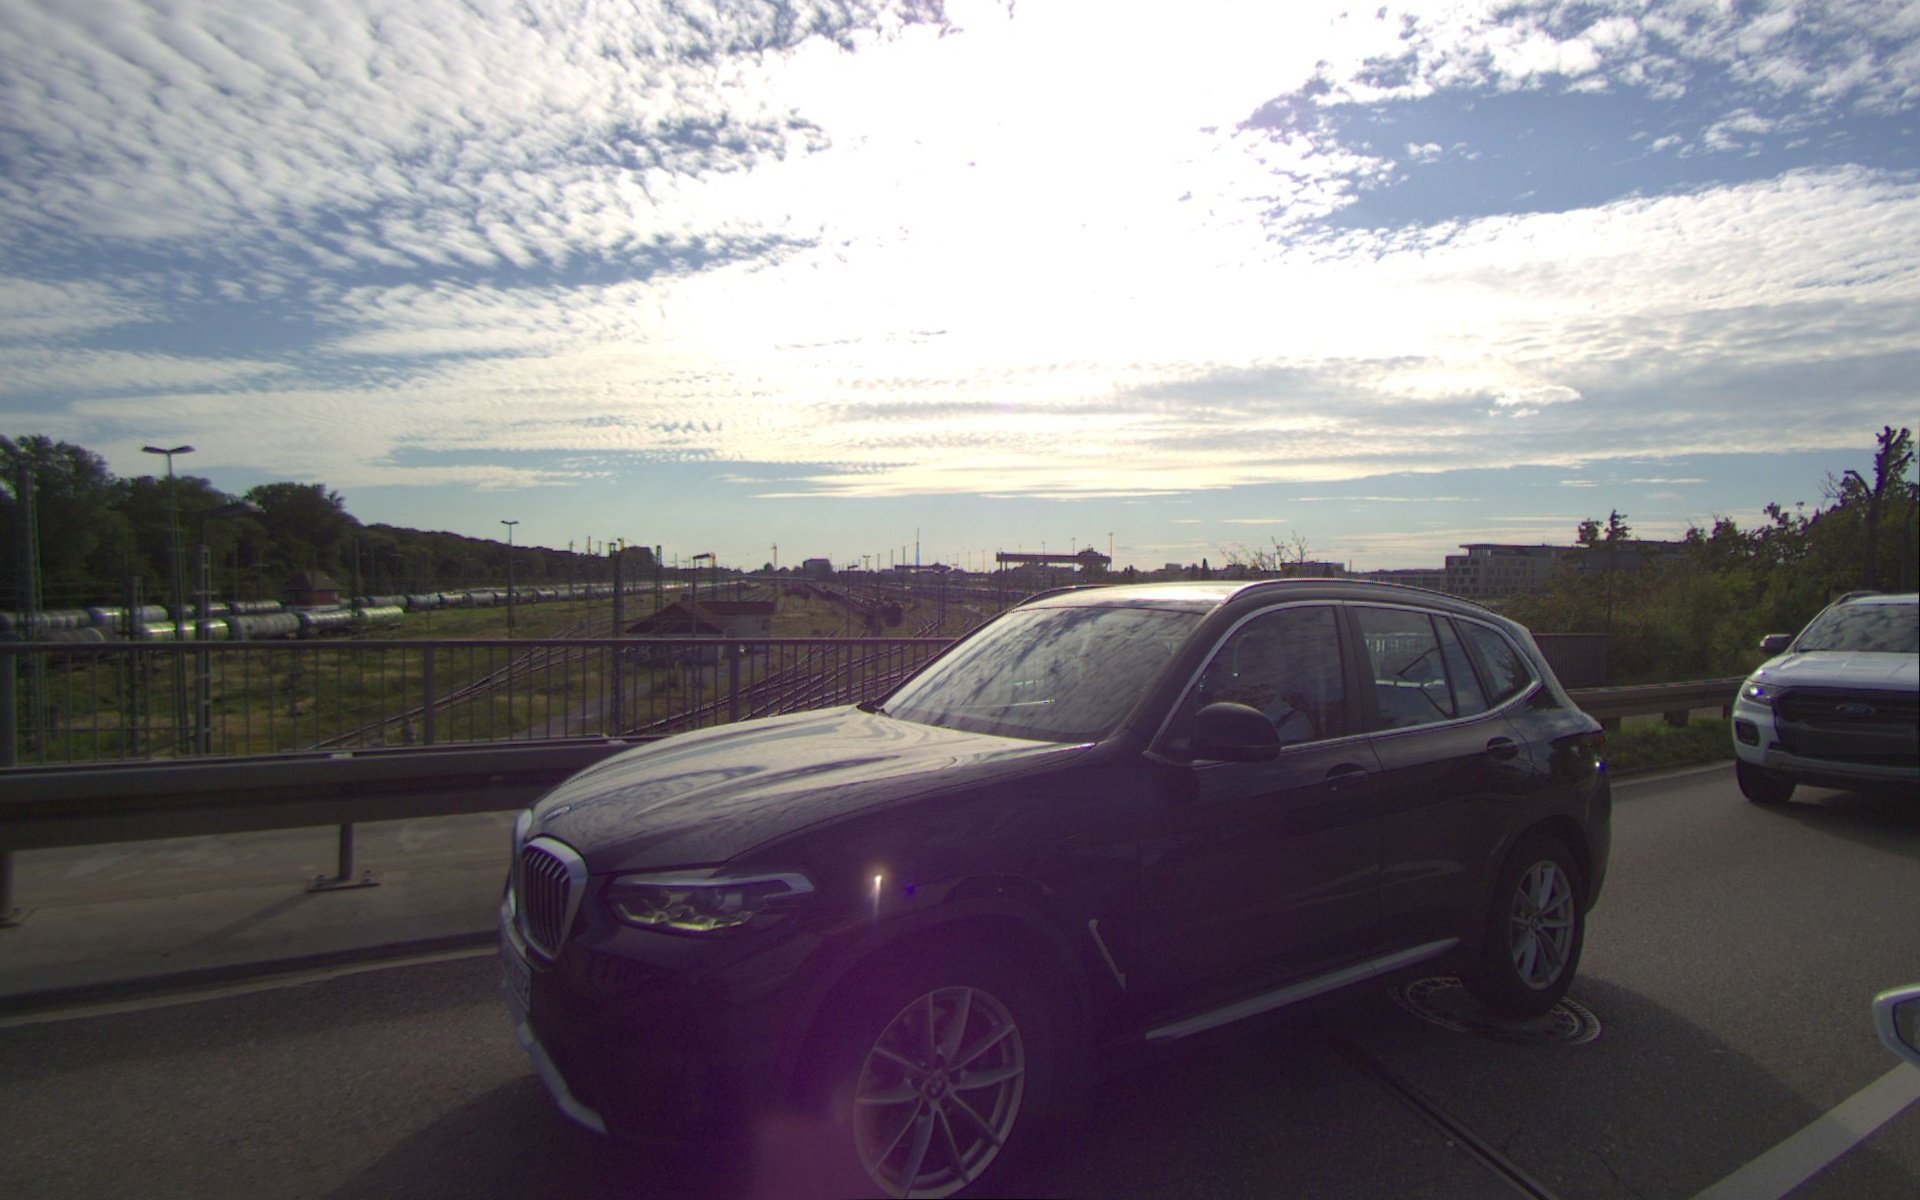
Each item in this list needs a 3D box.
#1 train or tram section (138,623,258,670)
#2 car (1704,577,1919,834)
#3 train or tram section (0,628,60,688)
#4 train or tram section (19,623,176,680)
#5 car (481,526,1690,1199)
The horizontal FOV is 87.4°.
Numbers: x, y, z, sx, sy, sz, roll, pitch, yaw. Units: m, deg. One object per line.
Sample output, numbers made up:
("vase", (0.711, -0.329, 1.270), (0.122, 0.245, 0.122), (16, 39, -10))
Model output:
("train or tram section", (-84.759, 5.009, 112.396), (3.040, 4.775, 16.723), (1, -1, -9))
("car", (8.809, 0.811, 9.046), (5.352, 1.834, 1.888), (1, -1, -36))
("train or tram section", (-79.294, 4.759, 79.710), (3.040, 4.775, 16.723), (1, -1, -9))
("train or tram section", (-81.925, 4.733, 96.218), (3.040, 4.775, 16.723), (1, -1, -9))
("car", (0.793, 0.752, 3.916), (4.593, 1.671, 1.878), (1, -1, -34))
